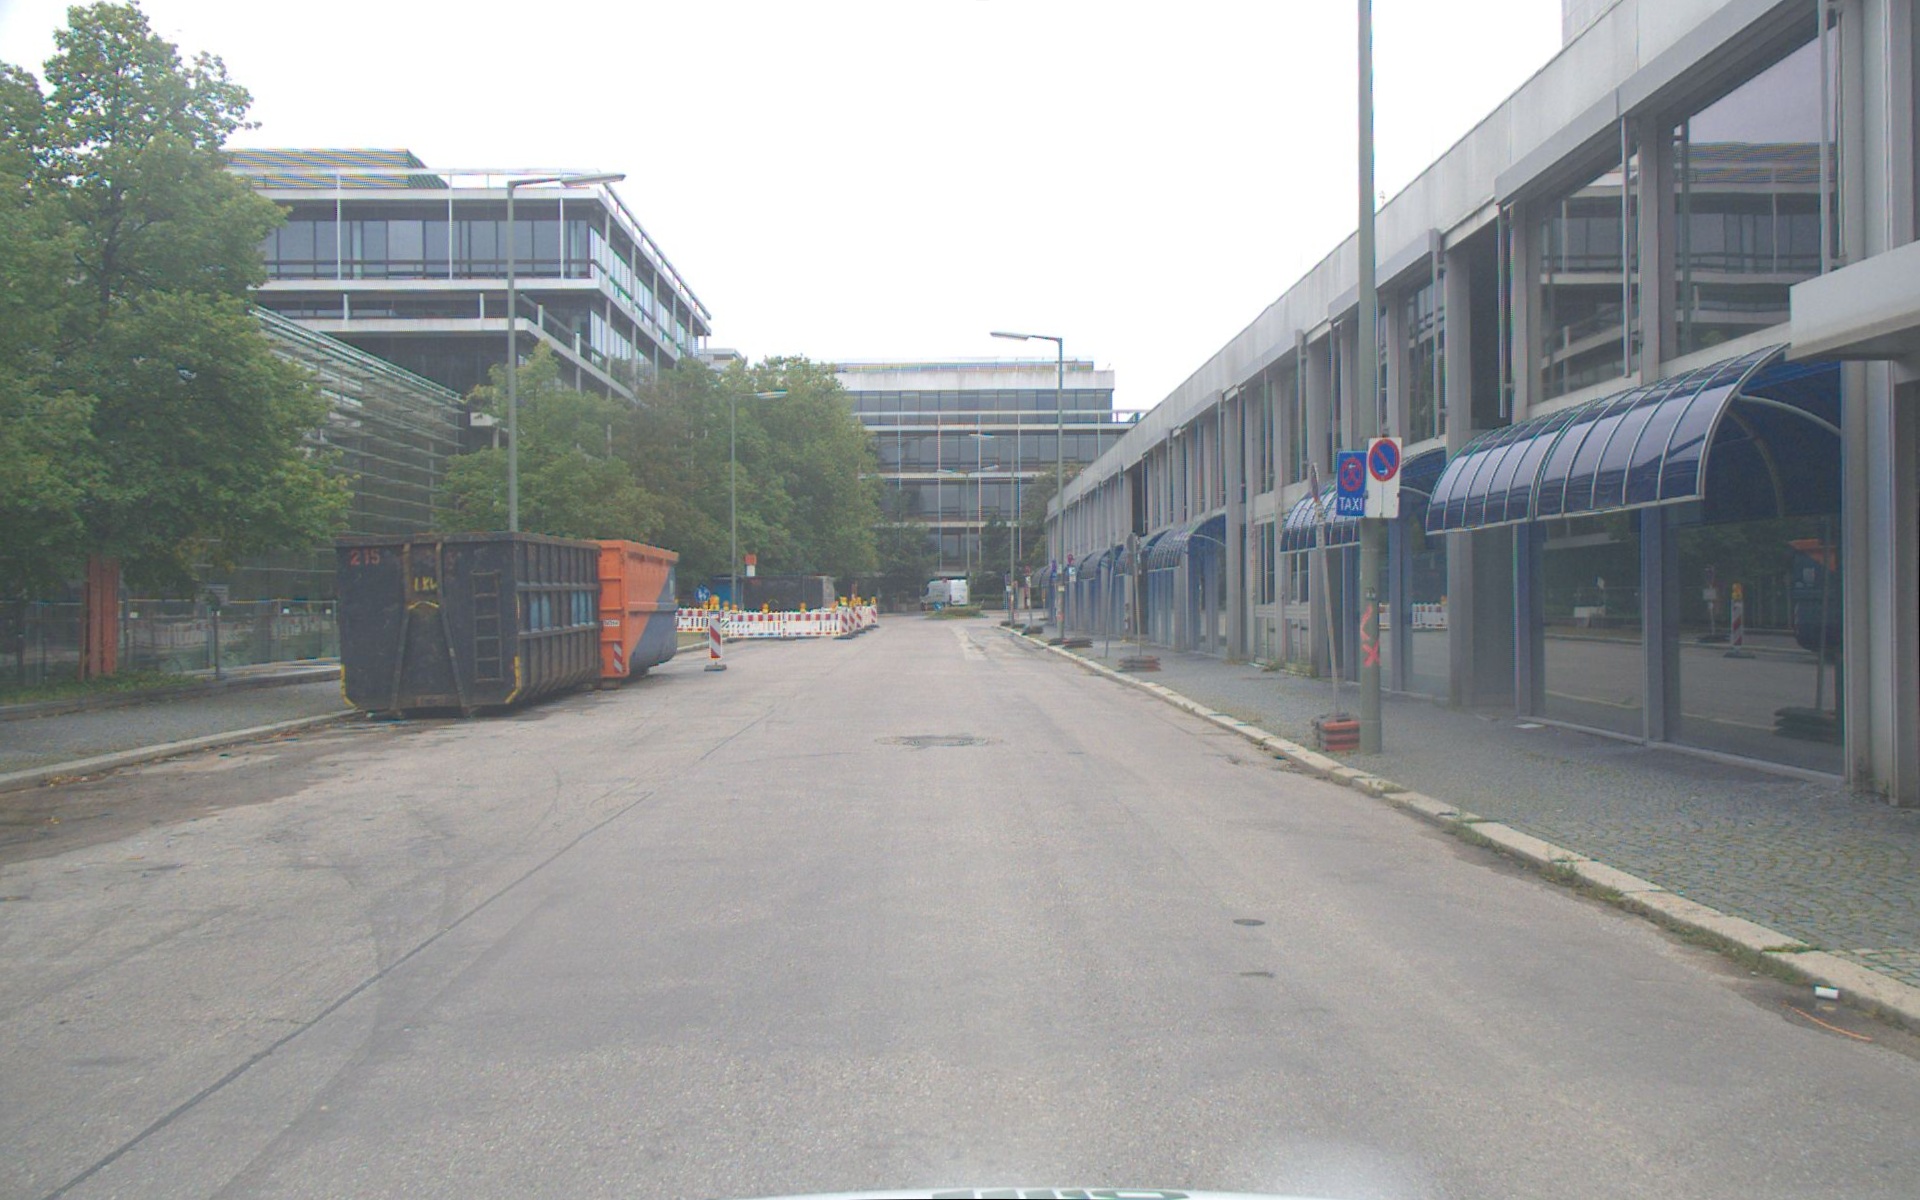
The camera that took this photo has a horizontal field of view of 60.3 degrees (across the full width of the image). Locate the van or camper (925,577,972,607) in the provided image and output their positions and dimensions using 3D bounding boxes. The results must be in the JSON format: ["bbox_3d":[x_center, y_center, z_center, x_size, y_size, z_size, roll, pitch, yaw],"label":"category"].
[{"bbox_3d":[-1.024,-0.704,143.317,2.060,2.535,5.025,-1,0,-26],"label":"van or camper"}]

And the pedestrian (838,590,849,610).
[{"bbox_3d":[-9.999,-0.013,141.933,0.730,1.706,0.678,-1,0,-20],"label":"pedestrian"}]
